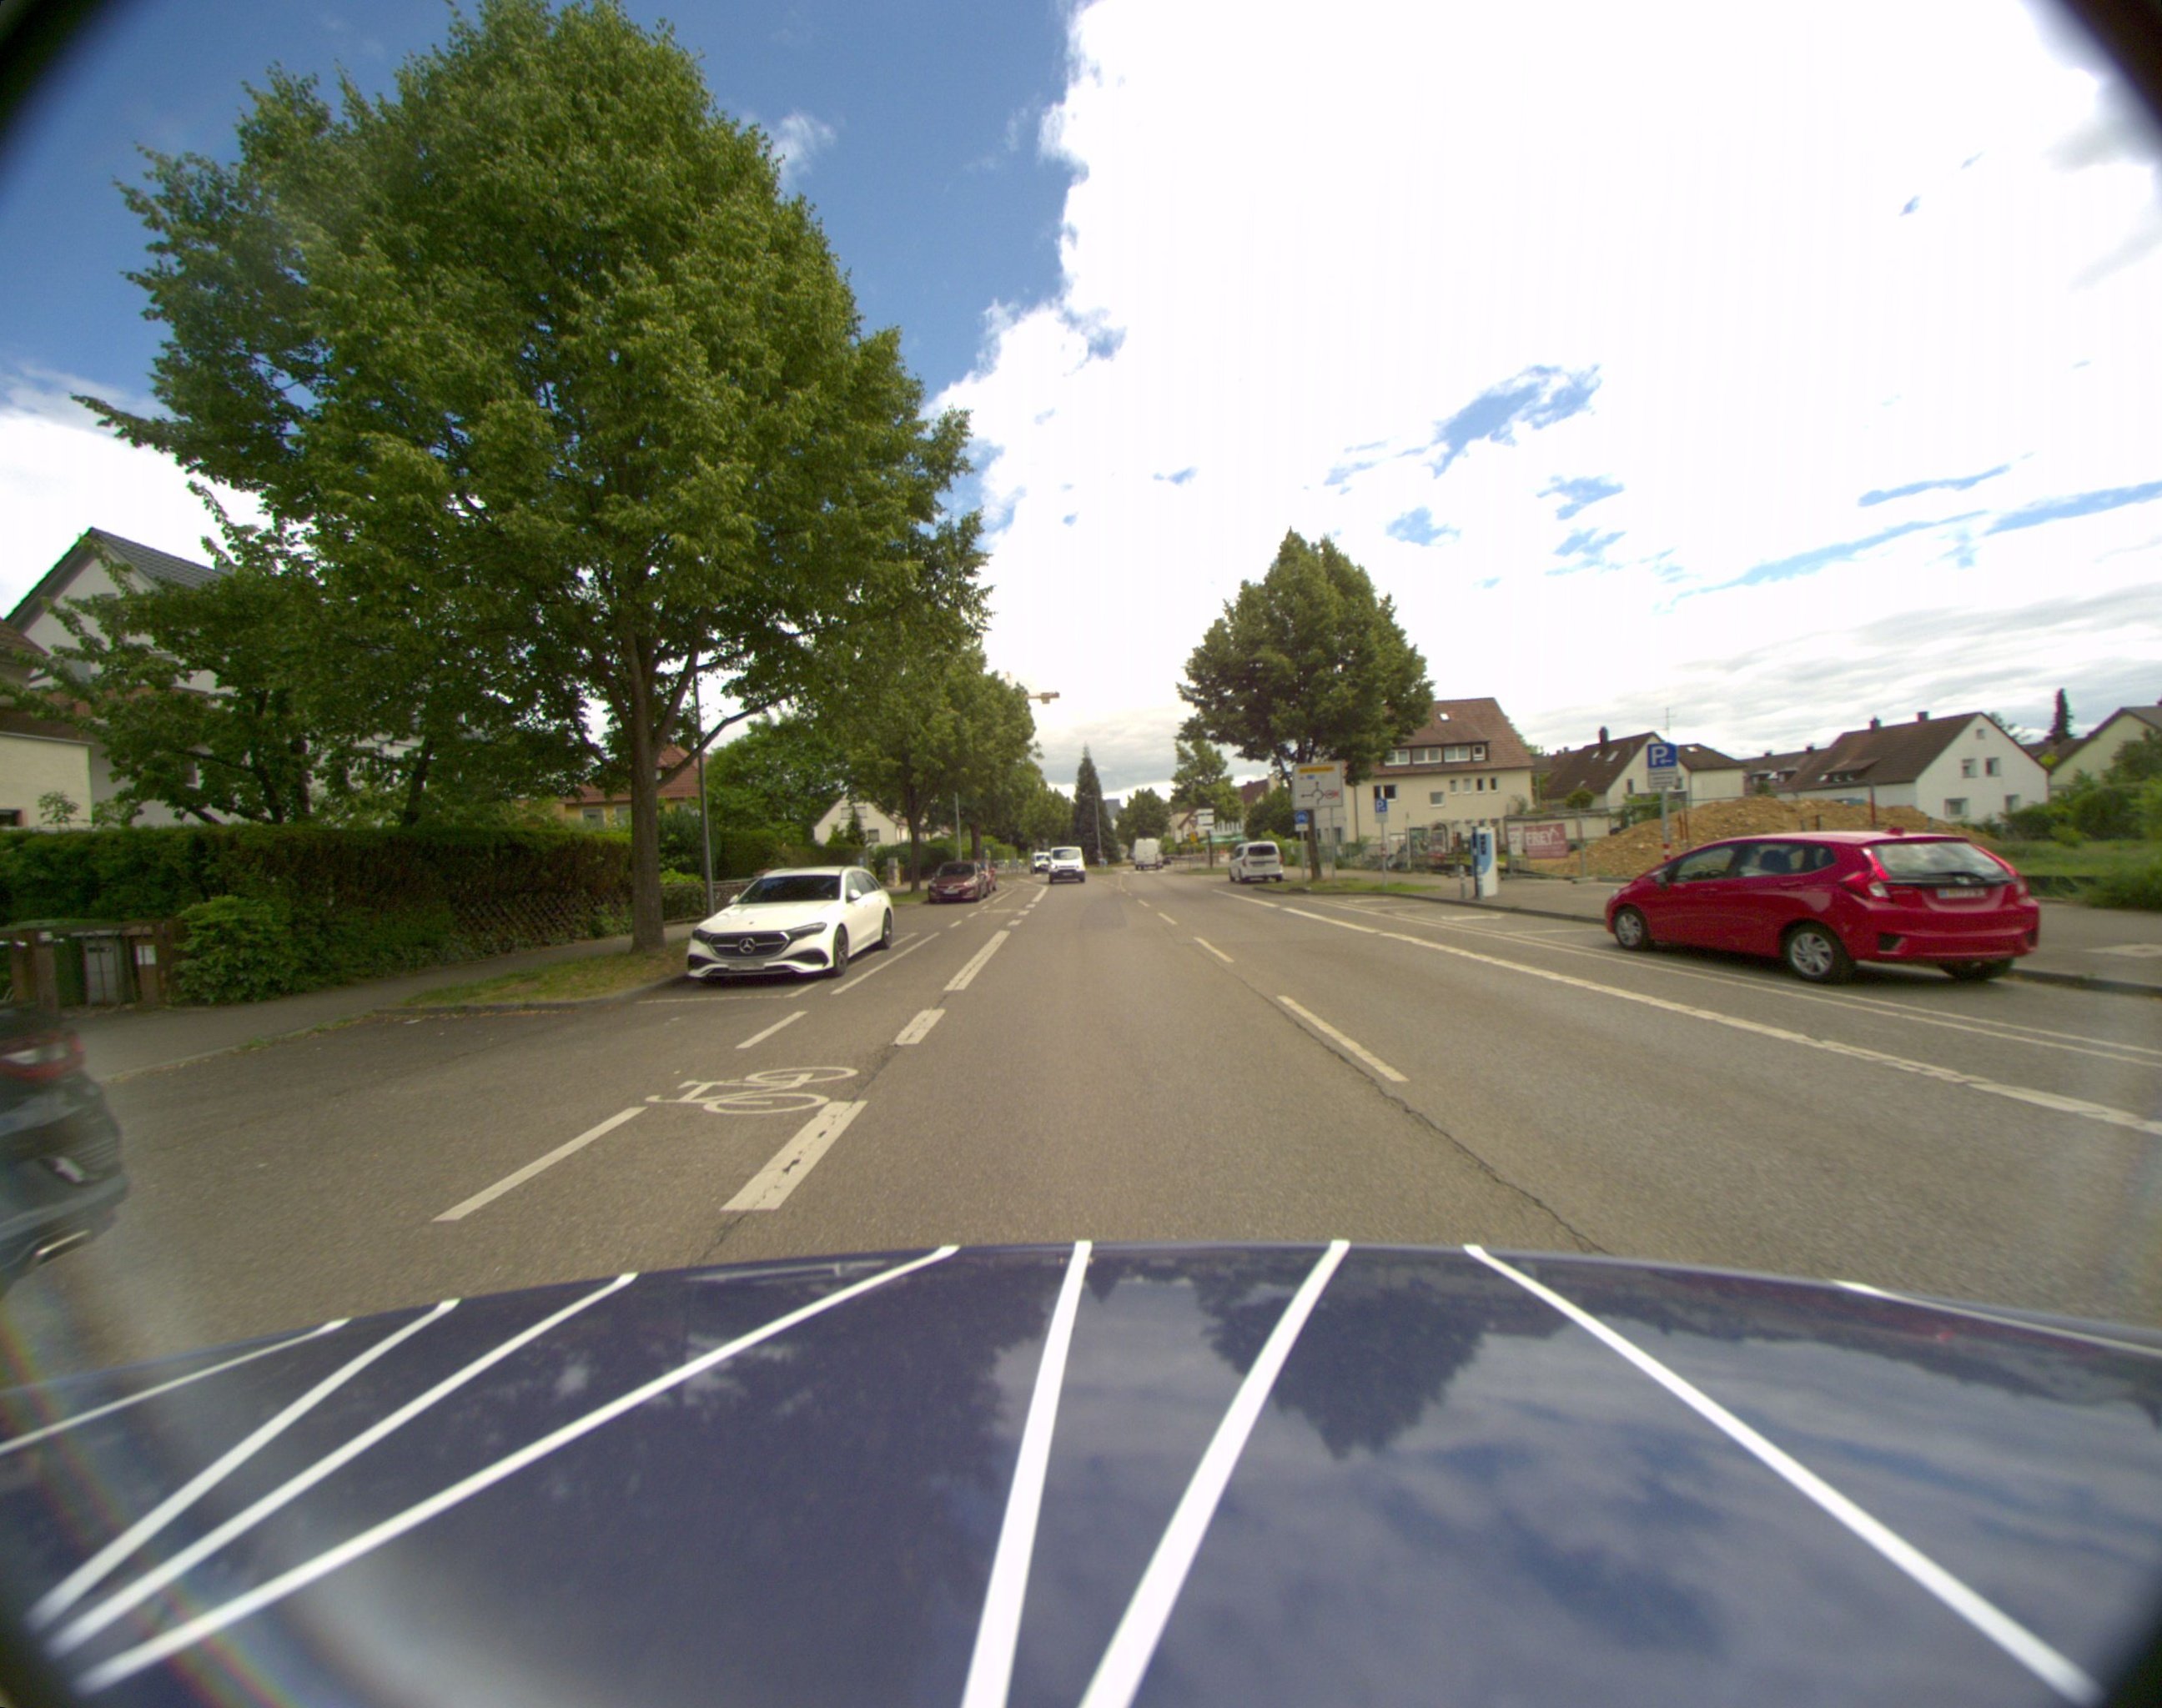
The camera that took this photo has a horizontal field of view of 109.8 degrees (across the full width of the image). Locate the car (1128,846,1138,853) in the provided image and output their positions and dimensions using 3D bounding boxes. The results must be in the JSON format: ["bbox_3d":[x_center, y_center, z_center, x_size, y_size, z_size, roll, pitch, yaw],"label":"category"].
[{"bbox_3d":[10.753,-0.956,157.521,1.665,1.466,3.746,-3,0,-1],"label":"car"}]

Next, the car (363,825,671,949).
[{"bbox_3d":[-13.532,0.762,18.558,5.730,2.576,1.997,-3,0,-5],"label":"car"}]

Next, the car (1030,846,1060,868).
[{"bbox_3d":[-3.089,0.263,64.813,1.928,1.744,3.996,-3,1,-11],"label":"car"}]

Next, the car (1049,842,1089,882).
[{"bbox_3d":[-0.719,0.412,42.996,1.999,2.002,5.049,-3,1,-2],"label":"car"}]

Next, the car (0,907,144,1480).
[{"bbox_3d":[-5.190,1.052,1.475,4.230,1.628,1.692,-2,1,-6],"label":"car"}]

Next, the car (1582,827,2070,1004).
[{"bbox_3d":[8.048,0.539,8.888,1.689,1.532,4.132,-2,0,1],"label":"car"}]

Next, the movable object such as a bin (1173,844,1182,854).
[{"bbox_3d":[13.870,-0.707,109.275,0.984,1.408,2.722,-3,0,0],"label":"movable object such as a bin"}]

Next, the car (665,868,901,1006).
[{"bbox_3d":[-4.197,1.051,11.667,1.810,1.466,4.810,-3,1,-2],"label":"car"}]

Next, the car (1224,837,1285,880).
[{"bbox_3d":[7.902,0.188,35.001,1.775,1.760,4.551,-3,0,1],"label":"car"}]

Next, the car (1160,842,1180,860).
[{"bbox_3d":[9.436,-0.345,80.549,1.926,1.744,4.001,-3,1,5],"label":"car"}]

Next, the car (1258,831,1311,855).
[{"bbox_3d":[17.077,-0.925,63.974,3.927,1.653,1.855,-4,2,4],"label":"car"}]

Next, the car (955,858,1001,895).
[{"bbox_3d":[-4.590,0.968,34.321,1.569,1.447,3.667,-3,1,-1],"label":"car"}]

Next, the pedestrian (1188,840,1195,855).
[{"bbox_3d":[13.823,-0.777,95.140,0.637,1.816,0.567,-4,1,14],"label":"pedestrian"}]

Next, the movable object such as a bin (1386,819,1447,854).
[{"bbox_3d":[22.480,-1.120,51.081,1.901,2.175,4.361,-3,1,-2],"label":"movable object such as a bin"}]

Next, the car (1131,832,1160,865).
[{"bbox_3d":[5.522,-0.479,65.767,2.024,2.658,5.805,-3,0,1],"label":"car"}]

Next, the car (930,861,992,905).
[{"bbox_3d":[-4.363,1.003,28.124,1.657,1.408,4.176,-2,0,-1],"label":"car"}]

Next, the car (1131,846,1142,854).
[{"bbox_3d":[10.960,-0.819,150.291,1.665,1.466,3.746,-3,0,-1],"label":"car"}]
